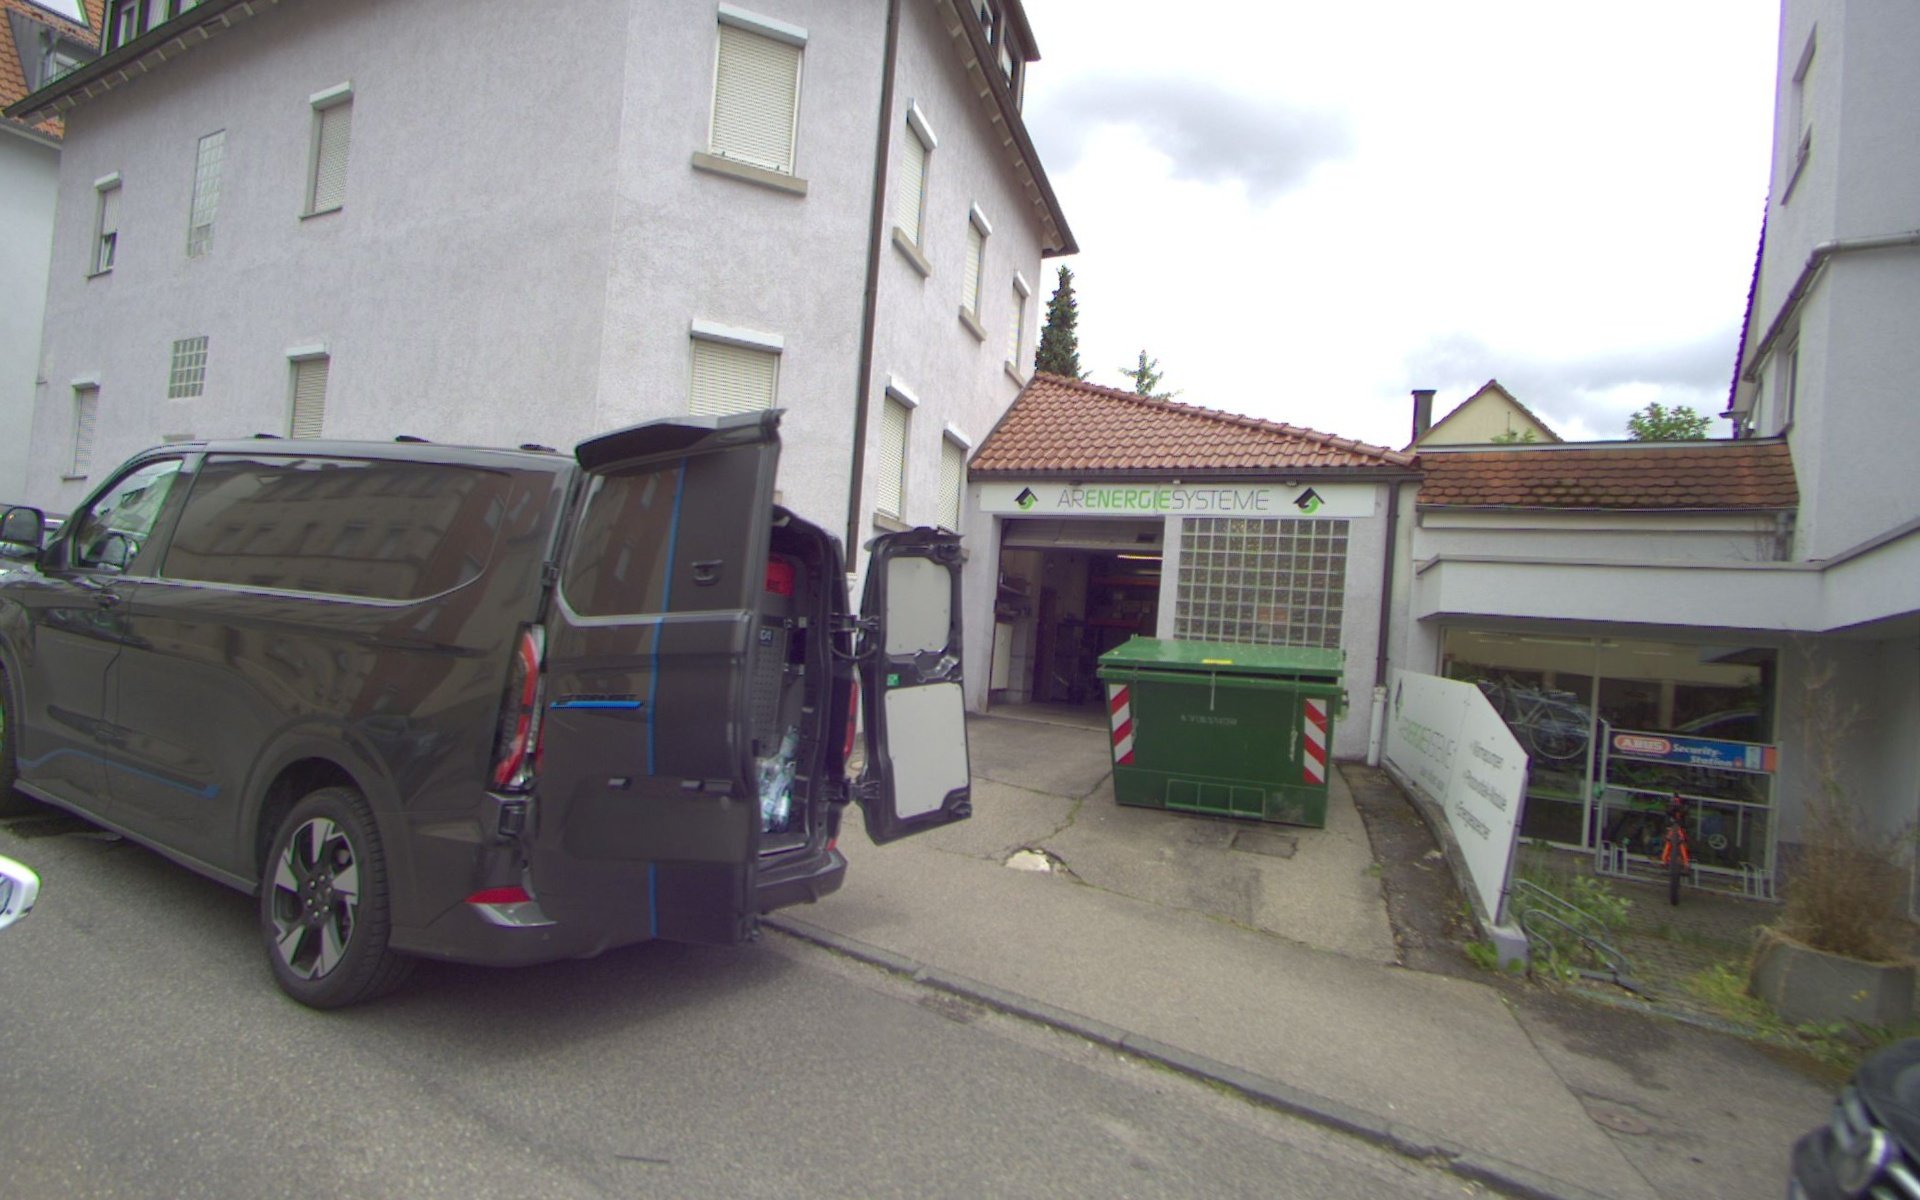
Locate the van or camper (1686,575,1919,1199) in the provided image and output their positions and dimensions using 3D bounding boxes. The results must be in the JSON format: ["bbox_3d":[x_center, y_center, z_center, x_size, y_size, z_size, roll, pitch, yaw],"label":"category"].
[{"bbox_3d":[3.806,1.169,1.076,4.601,1.849,1.876,7,-3,31],"label":"van or camper"}]

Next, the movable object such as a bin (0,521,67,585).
[{"bbox_3d":[-17.945,-0.919,19.320,1.197,1.074,0.888,7,-1,36],"label":"movable object such as a bin"}]

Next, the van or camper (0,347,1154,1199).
[{"bbox_3d":[-2.363,0.319,4.567,5.845,2.088,2.000,6,-4,31],"label":"van or camper"}]

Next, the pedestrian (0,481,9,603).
[{"bbox_3d":[-14.700,-0.919,14.542,1.508,1.762,0.976,7,2,32],"label":"pedestrian"}]

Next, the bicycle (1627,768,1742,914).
[{"bbox_3d":[5.915,1.926,8.271,0.620,0.907,1.356,7,-1,33],"label":"bicycle"}]

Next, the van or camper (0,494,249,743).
[{"bbox_3d":[-7.447,-0.005,7.815,3.934,1.560,1.606,7,-3,32],"label":"van or camper"}]
